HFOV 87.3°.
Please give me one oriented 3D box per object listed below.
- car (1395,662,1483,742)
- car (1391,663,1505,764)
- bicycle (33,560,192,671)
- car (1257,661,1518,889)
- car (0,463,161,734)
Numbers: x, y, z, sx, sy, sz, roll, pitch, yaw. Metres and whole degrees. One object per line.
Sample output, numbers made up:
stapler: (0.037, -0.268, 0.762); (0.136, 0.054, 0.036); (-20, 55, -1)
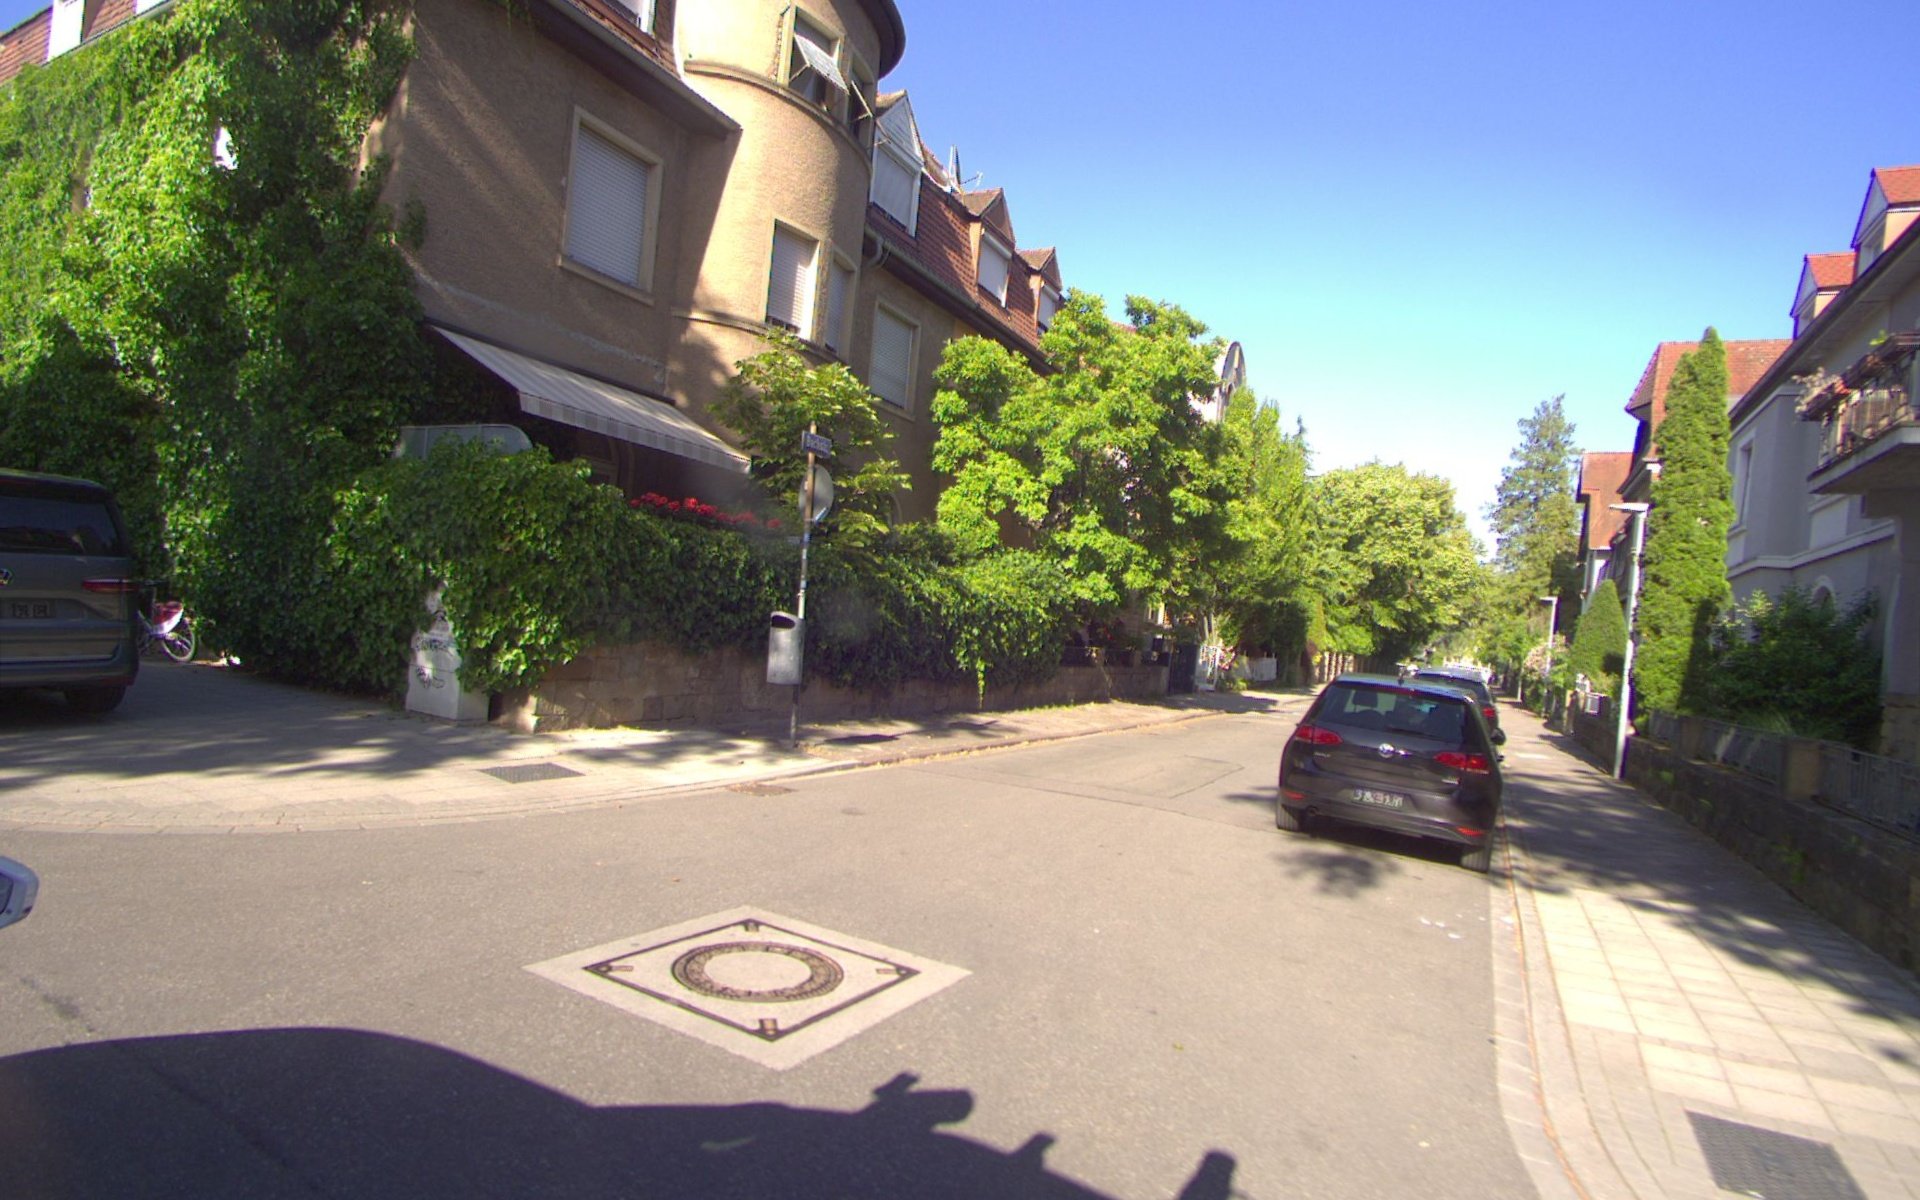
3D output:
car: (11.963, 2.465, 24.986); (1.672, 1.607, 3.995); (6, -1, 28)
car: (9.660, 2.147, 19.820); (1.672, 1.554, 3.995); (8, 0, 28)
bicycle: (-9.584, 0.157, 11.349); (2.330, 1.036, 0.588); (5, 0, 31)
car: (4.228, 1.468, 9.666); (1.725, 1.463, 3.995); (8, 0, 28)
car: (-8.678, -0.172, 8.150); (4.595, 1.896, 1.905); (5, 2, 30)
